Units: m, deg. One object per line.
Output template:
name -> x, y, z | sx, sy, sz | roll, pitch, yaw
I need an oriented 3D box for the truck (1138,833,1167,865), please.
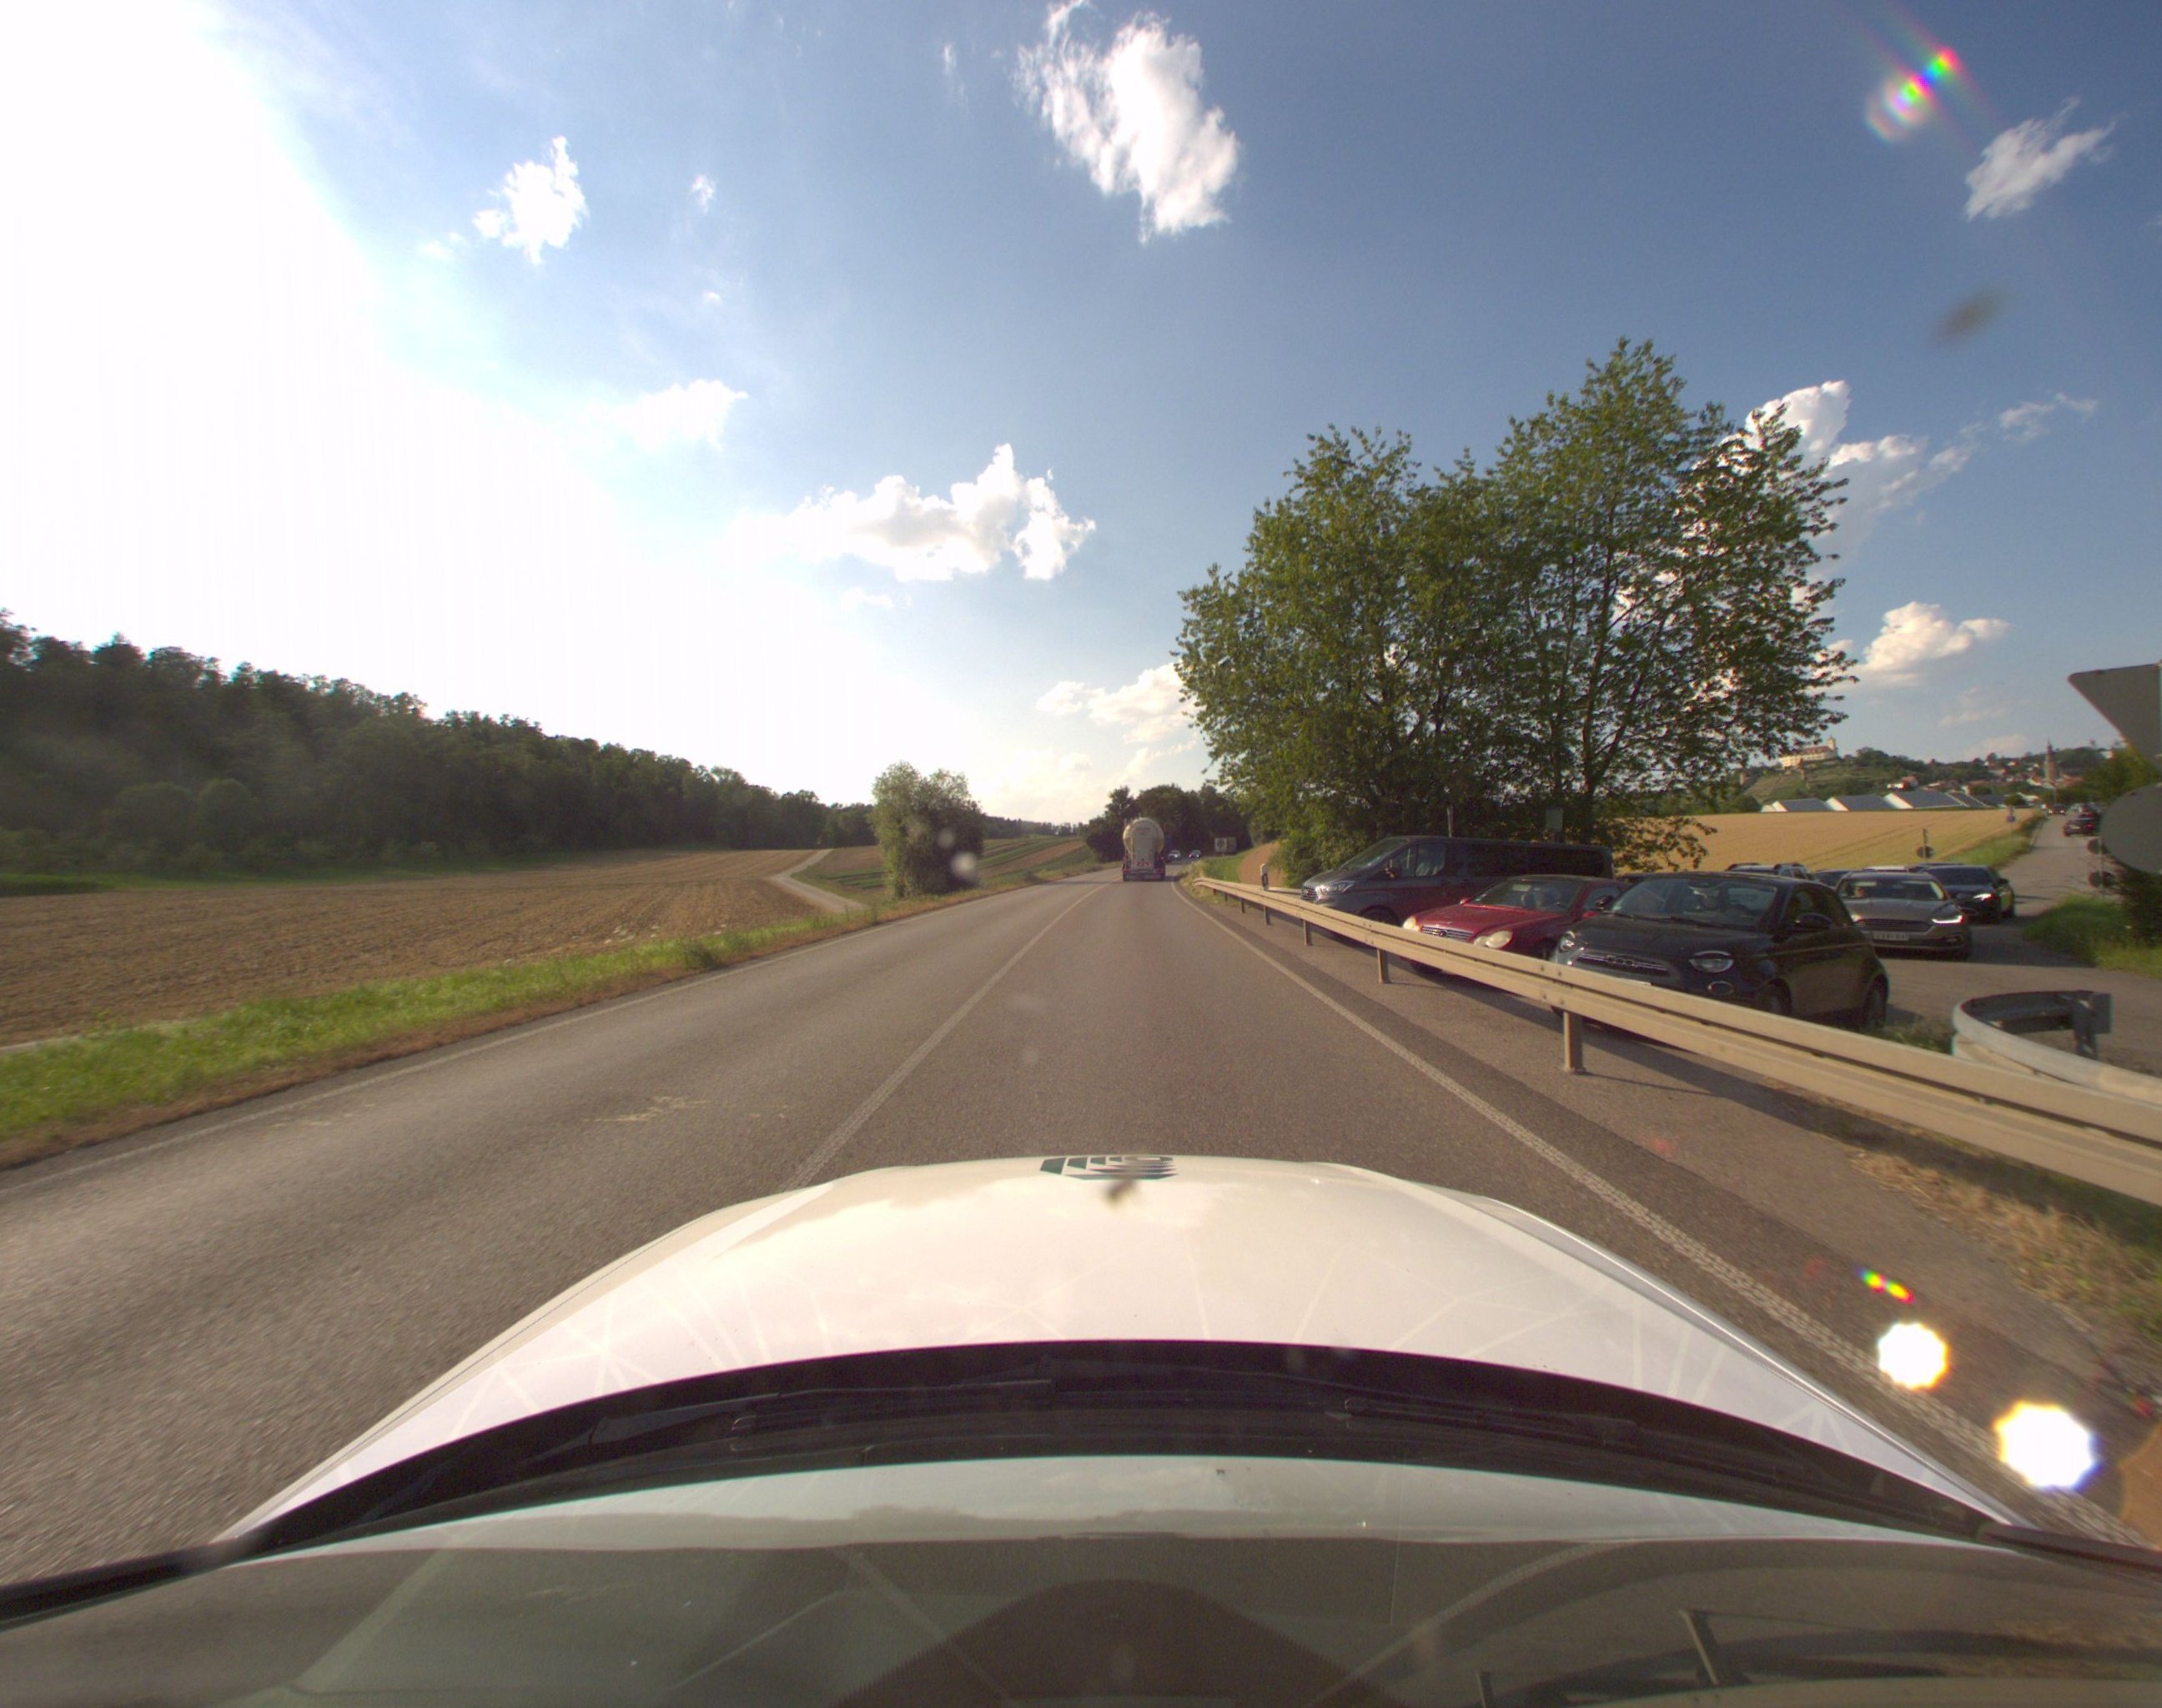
truck -> 9.547, -0.732, 107.915 | 2.372, 3.920, 10.196 | -2, 0, 13

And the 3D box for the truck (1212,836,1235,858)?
truck -> 30.154, -1.507, 171.347 | 3.159, 4.227, 13.229 | -2, 0, 16

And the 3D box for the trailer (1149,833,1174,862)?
trailer -> 11.681, -0.914, 117.283 | 2.348, 3.920, 8.993 | -2, 0, 13

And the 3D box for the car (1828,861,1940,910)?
car -> 27.936, 1.022, 28.294 | 4.663, 1.507, 1.978 | 0, 0, -35

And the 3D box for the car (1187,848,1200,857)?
car -> 22.062, -0.277, 159.656 | 1.961, 1.651, 4.378 | -2, 1, 13

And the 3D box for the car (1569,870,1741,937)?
car -> 13.786, 1.112, 19.547 | 3.737, 1.441, 1.796 | 0, 0, -25

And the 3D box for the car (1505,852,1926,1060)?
car -> 6.222, 0.839, 7.865 | 4.338, 1.509, 1.704 | 3, 0, -30

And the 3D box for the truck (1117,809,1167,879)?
truck -> 4.272, -0.583, 54.949 | 2.878, 4.142, 13.193 | -1, 0, 6

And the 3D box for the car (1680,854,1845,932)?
car -> 18.055, 0.946, 21.558 | 4.227, 1.747, 1.796 | -2, 1, -27

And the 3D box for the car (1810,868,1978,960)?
car -> 15.319, 1.017, 15.588 | 1.788, 1.441, 4.619 | 0, 0, 39

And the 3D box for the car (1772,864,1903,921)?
car -> 22.900, 1.089, 24.615 | 4.548, 1.507, 1.978 | 0, 0, -35

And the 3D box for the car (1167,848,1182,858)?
car -> 15.532, -0.190, 135.440 | 1.962, 1.651, 4.377 | -2, 1, 12

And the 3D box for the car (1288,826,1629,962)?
car -> 6.560, 0.663, 14.587 | 5.124, 1.944, 1.974 | 4, 0, -1

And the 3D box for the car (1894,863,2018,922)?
car -> 23.779, 0.988, 22.095 | 3.949, 1.441, 1.792 | 0, 0, -35

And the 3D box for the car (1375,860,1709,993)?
car -> 6.113, 0.885, 10.712 | 4.334, 1.399, 1.706 | 3, 0, -28
